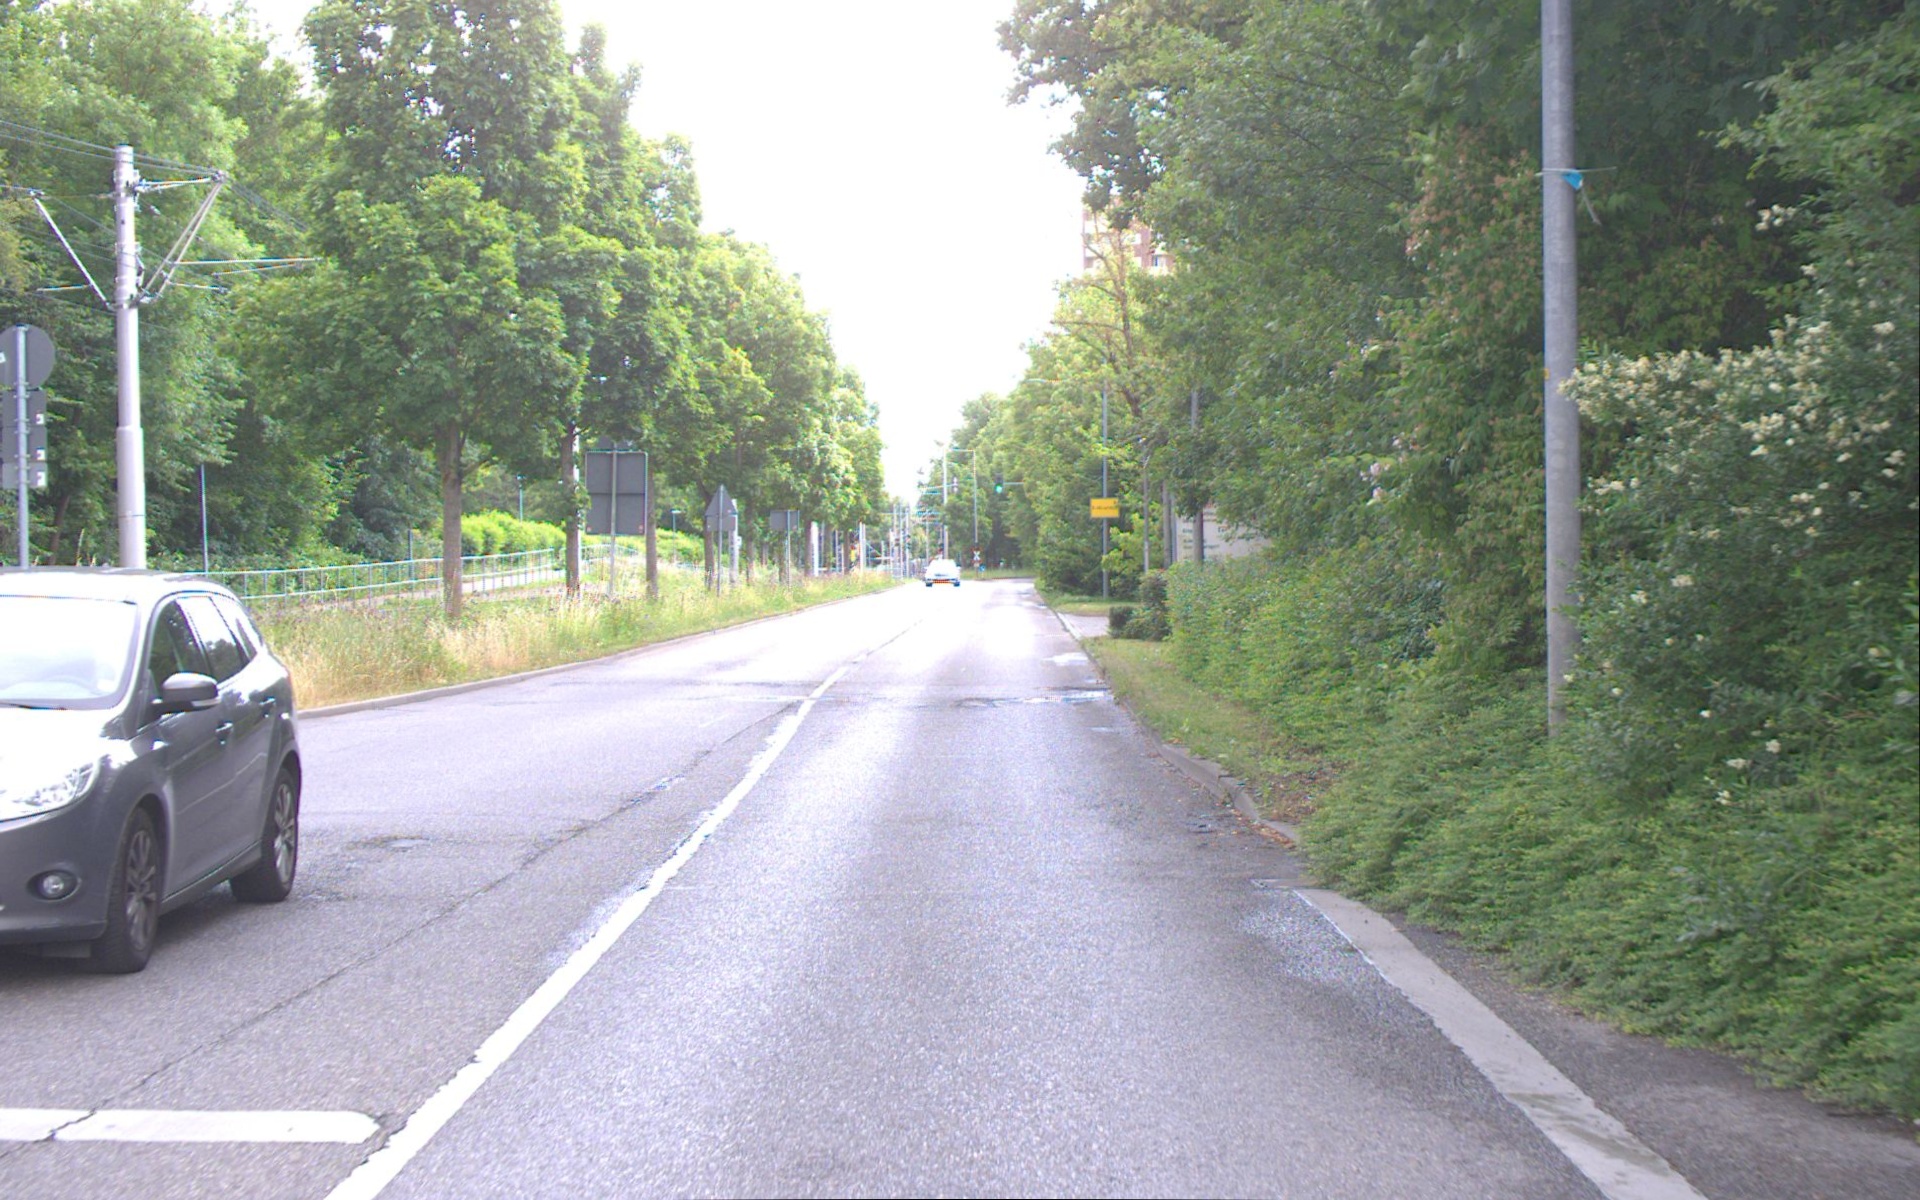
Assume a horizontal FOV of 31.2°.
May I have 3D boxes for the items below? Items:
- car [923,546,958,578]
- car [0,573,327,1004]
[{"bbox_3d":[-1.054,-2.071,187.447,1.716,1.624,4.000,-4,1,1],"label":"car"},{"bbox_3d":[-3.821,0.627,13.850,1.755,1.429,4.429,0,1,-1],"label":"car"}]
